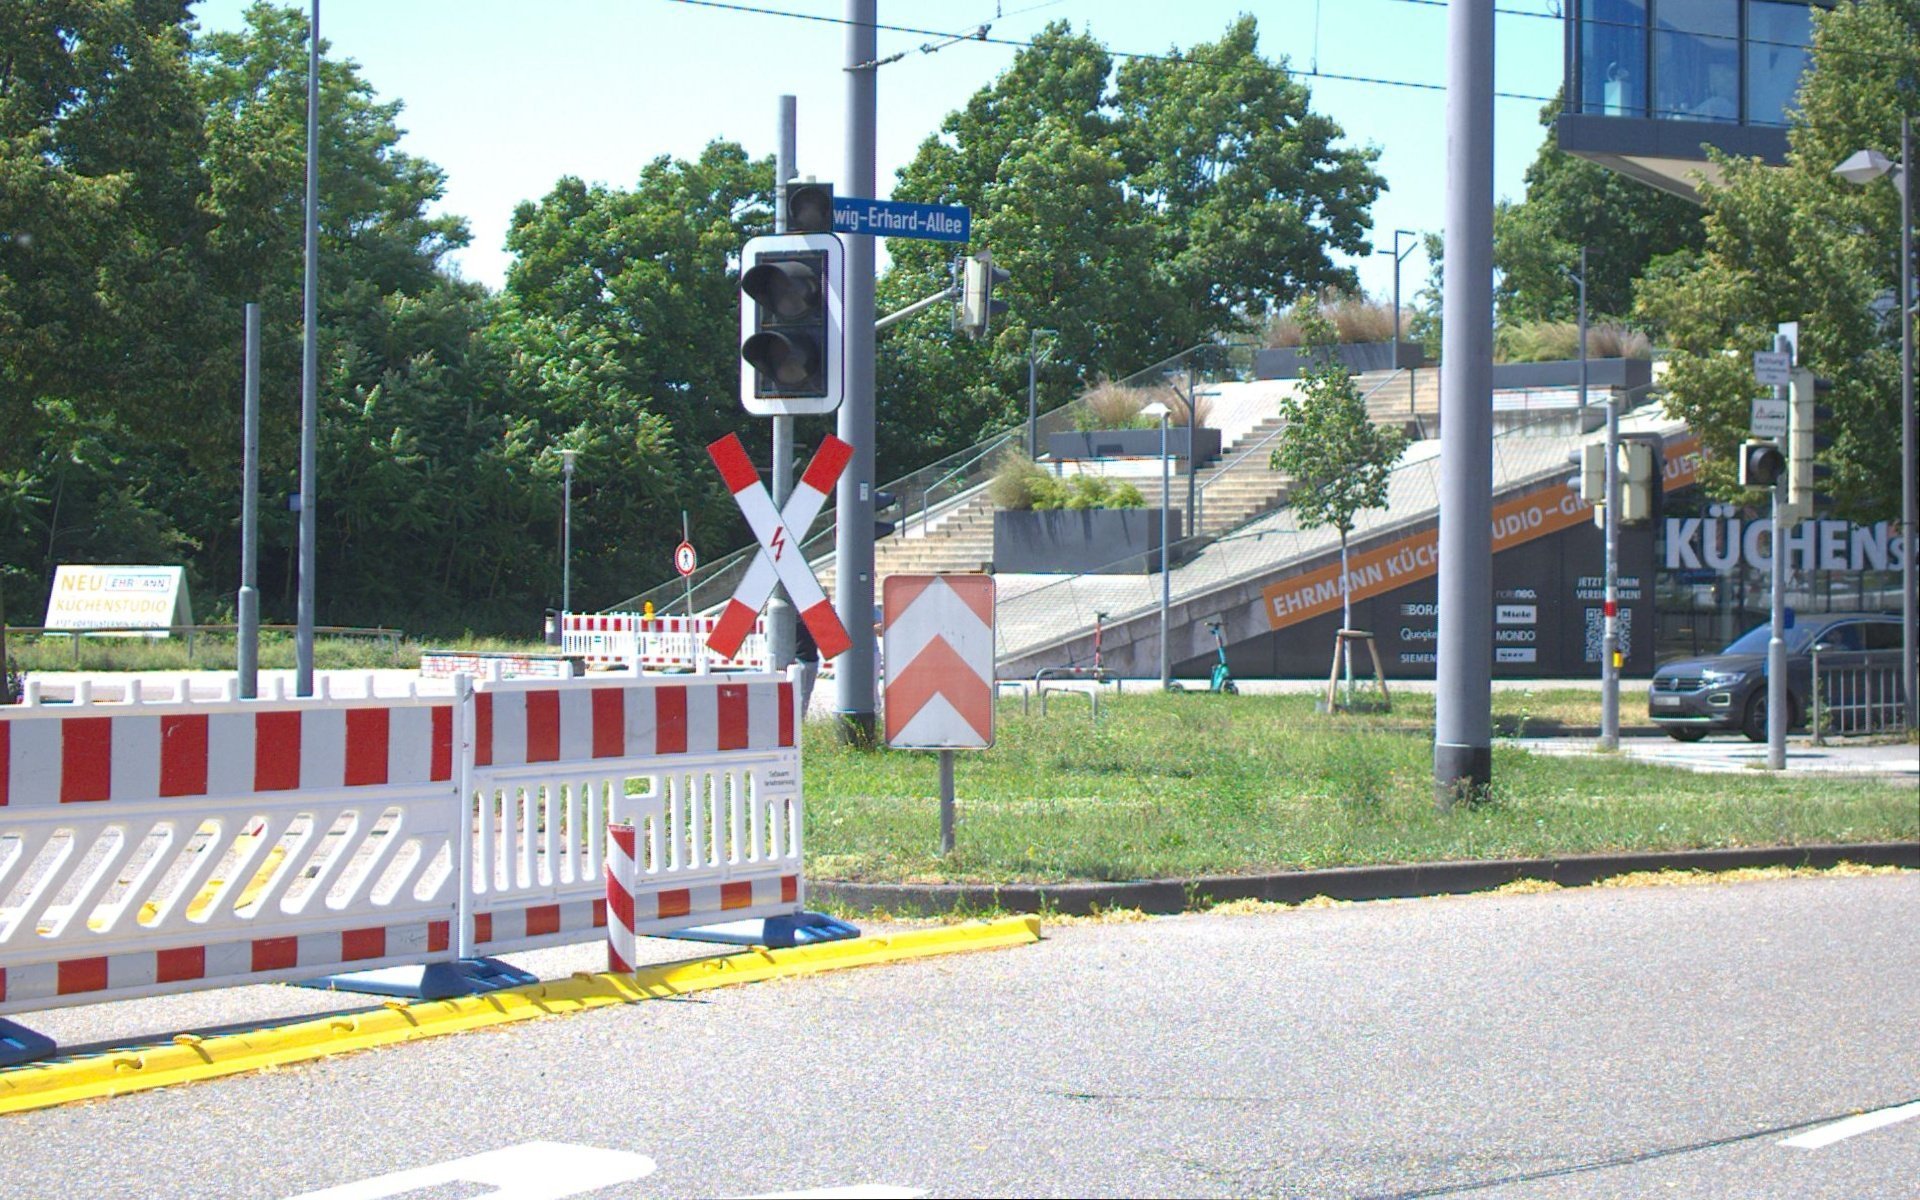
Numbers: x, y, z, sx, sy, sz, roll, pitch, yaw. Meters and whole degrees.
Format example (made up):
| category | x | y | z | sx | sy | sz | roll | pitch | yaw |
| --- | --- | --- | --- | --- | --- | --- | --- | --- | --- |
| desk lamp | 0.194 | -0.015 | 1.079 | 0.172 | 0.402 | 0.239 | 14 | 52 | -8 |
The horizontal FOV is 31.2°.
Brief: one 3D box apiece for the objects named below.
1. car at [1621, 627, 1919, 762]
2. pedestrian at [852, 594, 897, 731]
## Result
| category | x | y | z | sx | sy | sz | roll | pitch | yaw |
| --- | --- | --- | --- | --- | --- | --- | --- | --- | --- |
| car | 11.188 | 1.173 | 42.002 | 5.815 | 1.512 | 2.001 | 2 | 0 | -16 |
| pedestrian | -1.092 | 0.792 | 43.781 | 0.447 | 1.733 | 0.291 | 1 | 0 | -26 |
